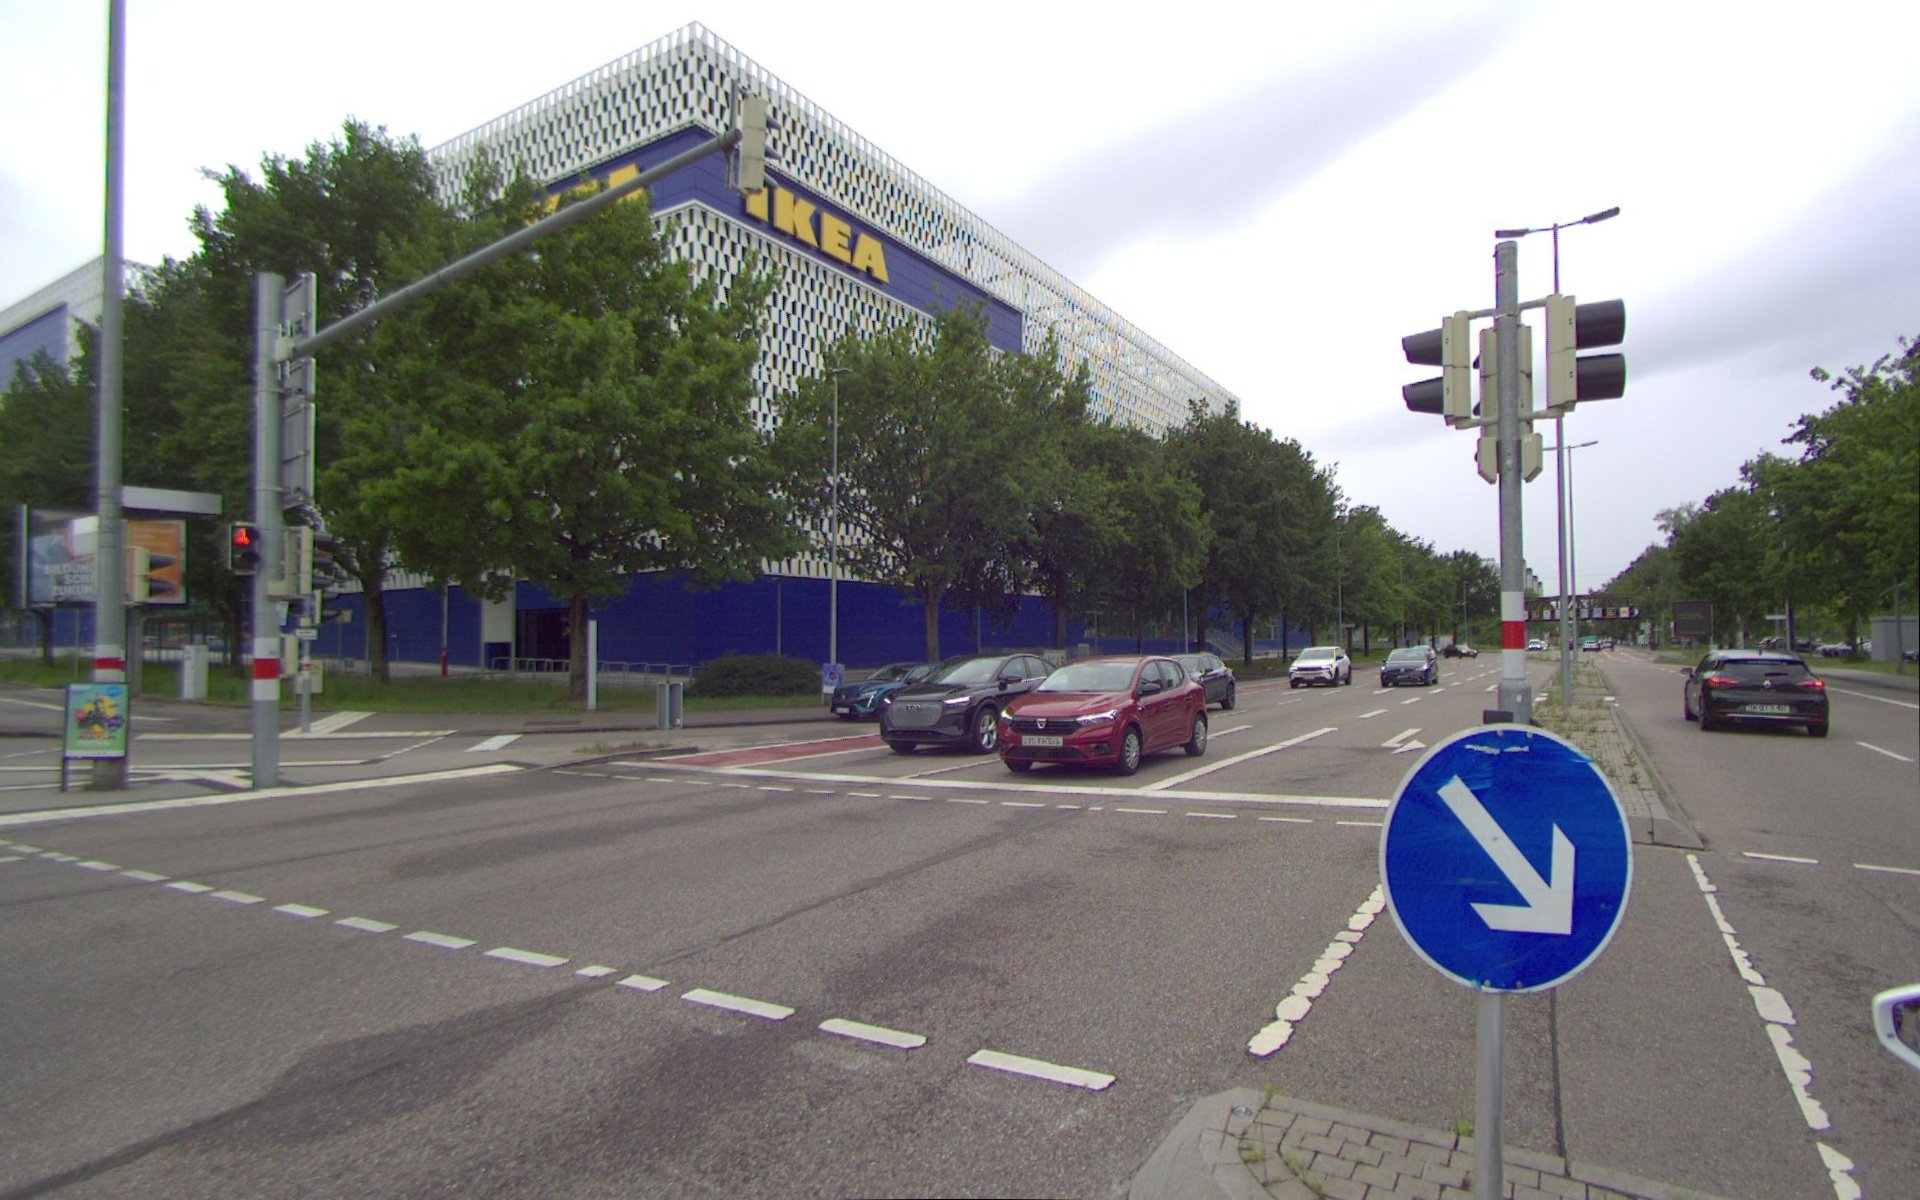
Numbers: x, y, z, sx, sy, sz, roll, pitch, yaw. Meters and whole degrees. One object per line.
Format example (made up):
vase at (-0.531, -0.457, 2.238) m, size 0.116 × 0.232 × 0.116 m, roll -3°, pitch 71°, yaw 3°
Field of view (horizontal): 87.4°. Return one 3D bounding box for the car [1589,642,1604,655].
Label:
car at (100.933, 7.624, 159.252) m, size 1.924 × 1.840 × 3.987 m, roll -1°, pitch 0°, yaw 35°

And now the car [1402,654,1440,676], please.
car at (36.640, 5.147, 79.792) m, size 1.834 × 1.481 × 4.316 m, roll -4°, pitch -3°, yaw 36°

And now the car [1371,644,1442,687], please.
car at (17.271, 2.488, 38.734) m, size 1.831 × 1.481 × 4.321 m, roll -4°, pitch -3°, yaw 32°

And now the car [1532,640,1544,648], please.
car at (110.540, 8.355, 192.116) m, size 1.731 × 1.466 × 3.328 m, roll -1°, pitch 0°, yaw 35°

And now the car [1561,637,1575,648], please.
car at (105.106, 7.300, 173.565) m, size 1.924 × 1.840 × 3.987 m, roll -1°, pitch 0°, yaw 35°

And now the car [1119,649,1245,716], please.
car at (5.880, 2.112, 26.200) m, size 1.853 × 1.564 × 4.590 m, roll -3°, pitch -4°, yaw 30°

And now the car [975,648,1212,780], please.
car at (1.971, 1.452, 13.698) m, size 1.710 × 1.506 × 4.070 m, roll -3°, pitch -5°, yaw 31°

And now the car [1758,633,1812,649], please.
car at (79.821, 3.984, 97.243) m, size 3.939 × 1.455 × 1.722 m, roll -1°, pitch 0°, yaw 40°

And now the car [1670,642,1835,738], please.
car at (14.203, 1.528, 18.221) m, size 1.731 × 1.453 × 3.993 m, roll -2°, pitch -2°, yaw 30°

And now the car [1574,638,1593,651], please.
car at (85.547, 6.107, 137.766) m, size 2.107 × 1.684 × 3.769 m, roll -1°, pitch 0°, yaw 35°

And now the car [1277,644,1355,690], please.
car at (14.690, 2.727, 41.282) m, size 1.967 × 1.615 × 4.566 m, roll -6°, pitch -4°, yaw 32°

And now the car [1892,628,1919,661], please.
car at (54.681, 2.626, 55.378) m, size 4.488 × 1.725 × 1.994 m, roll 5°, pitch 3°, yaw 34°

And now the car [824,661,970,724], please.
car at (-1.580, 2.392, 26.621) m, size 1.674 × 1.506 × 4.105 m, roll -3°, pitch -4°, yaw 35°

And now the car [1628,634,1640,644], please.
car at (138.619, 8.084, 206.633) m, size 1.924 × 1.840 × 3.987 m, roll -1°, pitch 0°, yaw 35°

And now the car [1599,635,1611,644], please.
car at (133.216, 8.152, 207.401) m, size 1.924 × 1.840 × 3.987 m, roll -1°, pitch 0°, yaw 35°

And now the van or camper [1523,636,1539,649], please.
van or camper at (85.725, 6.350, 150.755) m, size 1.731 × 1.769 × 4.396 m, roll -6°, pitch -4°, yaw 32°

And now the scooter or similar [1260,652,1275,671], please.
scooter or similar at (21.104, 4.201, 68.943) m, size 0.645 × 1.212 × 1.375 m, roll 0°, pitch -1°, yaw 30°

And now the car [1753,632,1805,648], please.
car at (80.923, 3.947, 99.331) m, size 3.939 × 1.455 × 1.722 m, roll -1°, pitch 0°, yaw 40°

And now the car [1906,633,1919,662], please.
car at (53.229, 2.698, 53.225) m, size 4.119 × 1.465 × 1.954 m, roll 5°, pitch 3°, yaw 34°

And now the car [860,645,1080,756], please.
car at (0.317, 1.659, 17.396) m, size 1.854 × 1.658 × 4.325 m, roll -5°, pitch -5°, yaw 30°

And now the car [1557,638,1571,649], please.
car at (101.337, 7.315, 168.452) m, size 1.859 × 1.684 × 3.769 m, roll -1°, pitch 0°, yaw 35°
